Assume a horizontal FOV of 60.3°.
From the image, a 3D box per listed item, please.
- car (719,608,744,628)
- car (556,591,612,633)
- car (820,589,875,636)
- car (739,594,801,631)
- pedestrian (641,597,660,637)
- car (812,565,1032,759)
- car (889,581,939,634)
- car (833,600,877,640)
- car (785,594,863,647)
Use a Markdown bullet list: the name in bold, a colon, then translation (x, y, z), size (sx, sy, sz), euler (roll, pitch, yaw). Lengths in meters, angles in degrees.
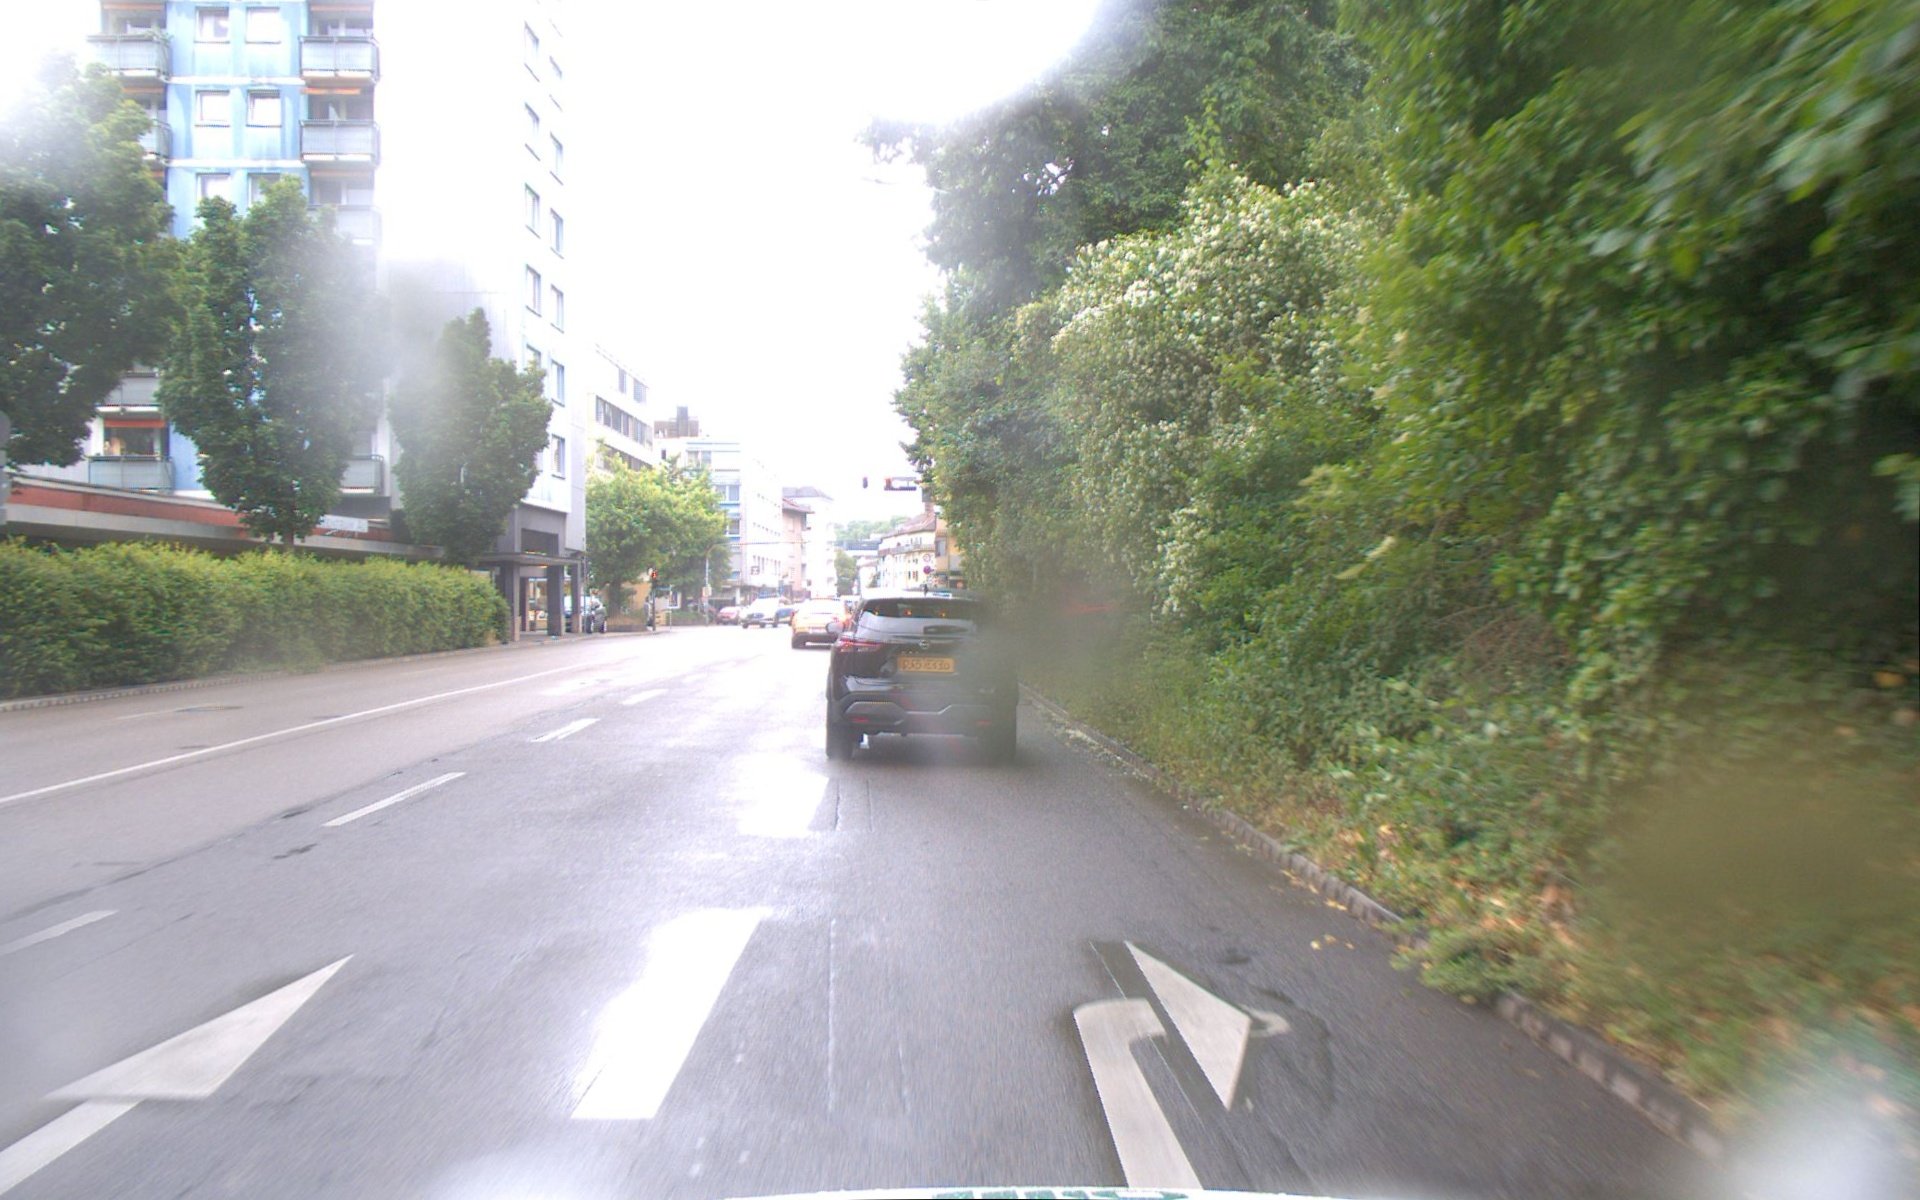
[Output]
- **car**: translation (-17.837, 1.405, 129.259), size (1.639, 1.504, 3.606), euler (-2, 0, -3)
- **car**: translation (-16.163, 0.500, 71.305), size (1.508, 1.736, 4.286), euler (1, 0, -1)
- **car**: translation (-3.785, 0.422, 56.256), size (1.708, 1.513, 4.160), euler (-1, 0, -2)
- **car**: translation (-9.688, 0.614, 84.823), size (1.951, 1.780, 4.811), euler (-1, 0, 8)
- **pedestrian**: translation (-16.127, 0.897, 86.160), size (0.923, 2.049, 0.884), euler (-2, 0, -11)
- **car**: translation (-0.417, 0.539, 16.604), size (1.920, 1.681, 3.998), euler (-1, 0, -3)
- **car**: translation (-1.897, 0.293, 67.034), size (1.954, 2.049, 3.998), euler (-1, 0, -3)
- **car**: translation (-3.960, 0.748, 62.962), size (1.580, 1.445, 3.965), euler (0, 0, -2)
- **car**: translation (-4.003, 0.580, 49.365), size (2.024, 1.490, 4.585), euler (0, 0, -1)
